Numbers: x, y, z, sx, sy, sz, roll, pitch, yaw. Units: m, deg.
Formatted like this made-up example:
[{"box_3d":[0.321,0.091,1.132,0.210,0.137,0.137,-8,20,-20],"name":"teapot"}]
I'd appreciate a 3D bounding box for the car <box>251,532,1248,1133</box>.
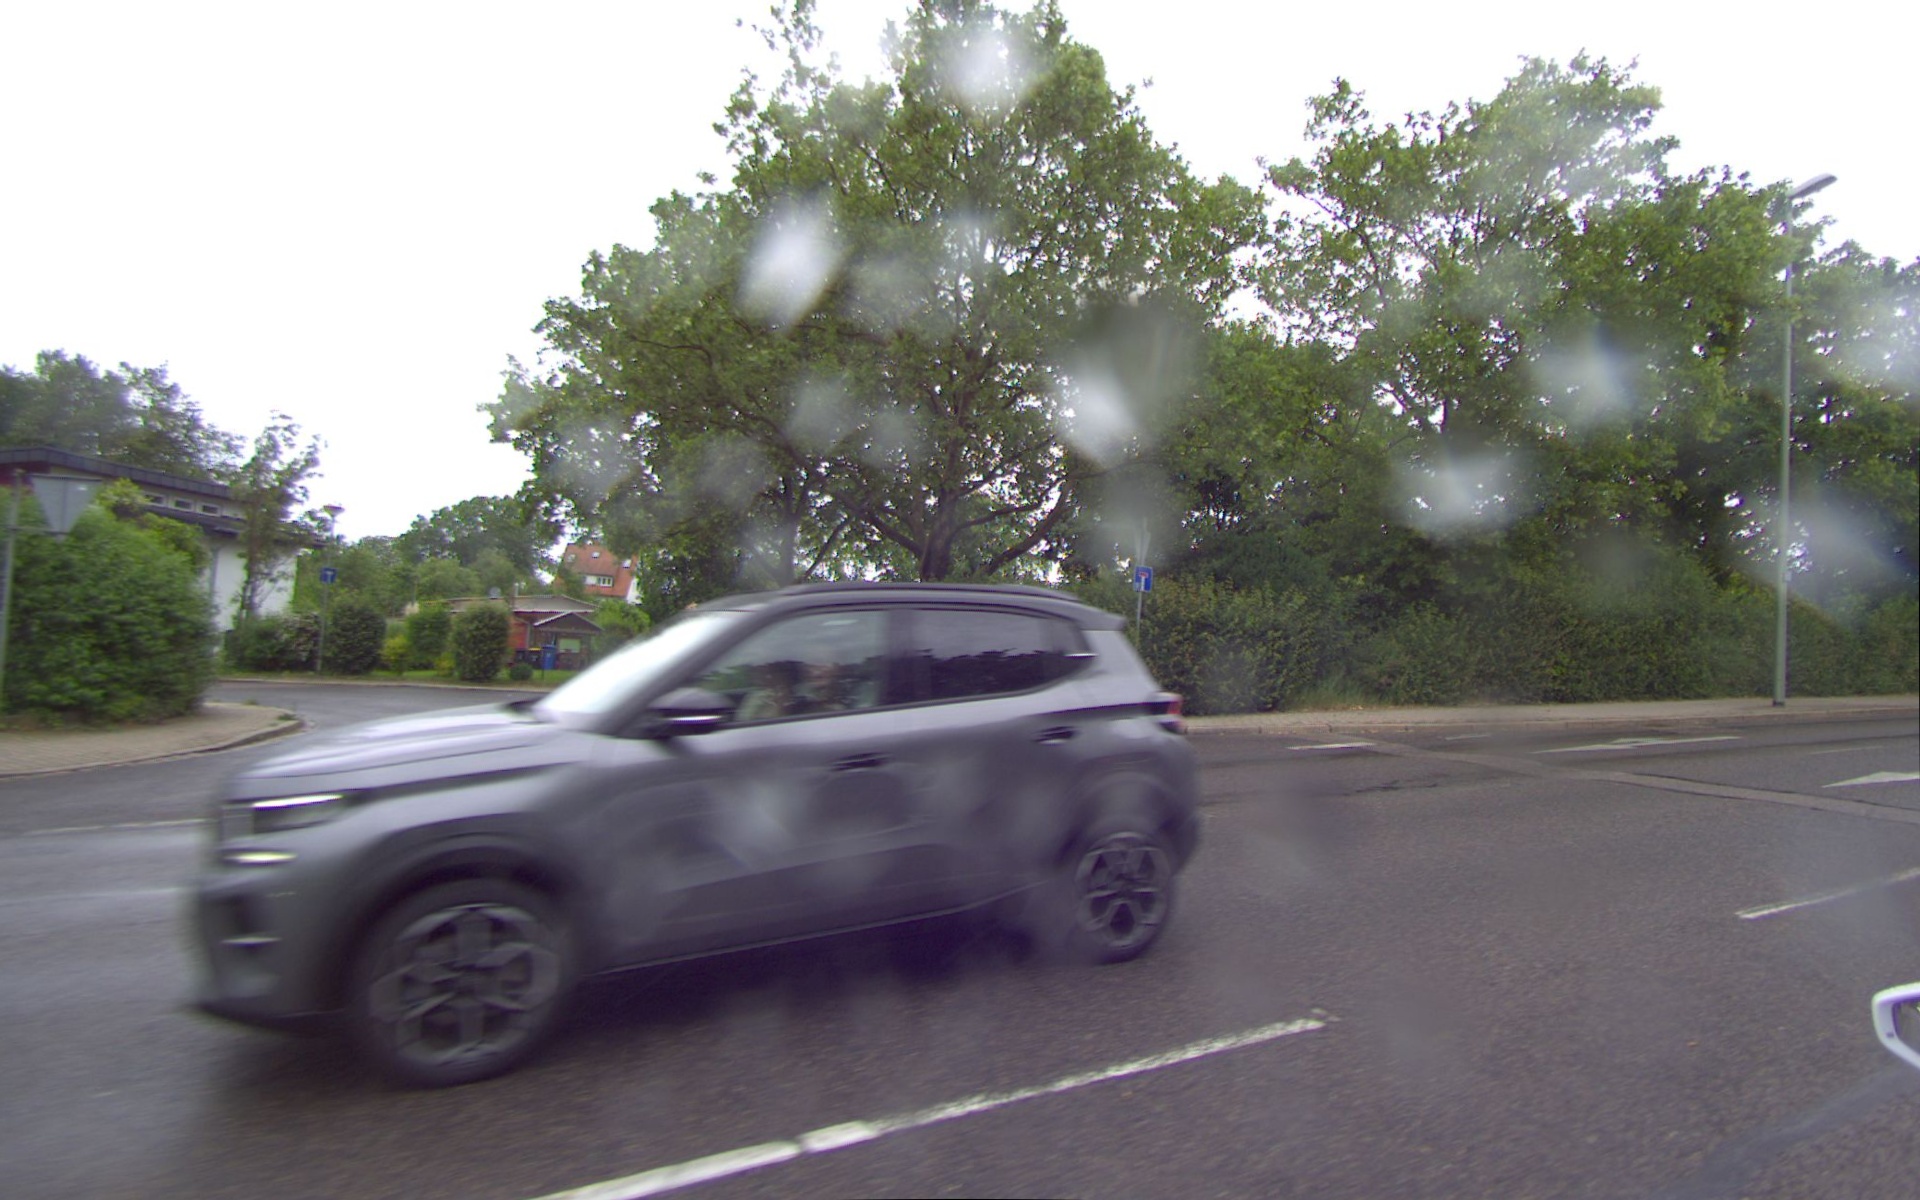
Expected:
[{"box_3d":[-0.724,0.692,4.421,3.687,1.624,1.787,2,-2,-29],"name":"car"}]
